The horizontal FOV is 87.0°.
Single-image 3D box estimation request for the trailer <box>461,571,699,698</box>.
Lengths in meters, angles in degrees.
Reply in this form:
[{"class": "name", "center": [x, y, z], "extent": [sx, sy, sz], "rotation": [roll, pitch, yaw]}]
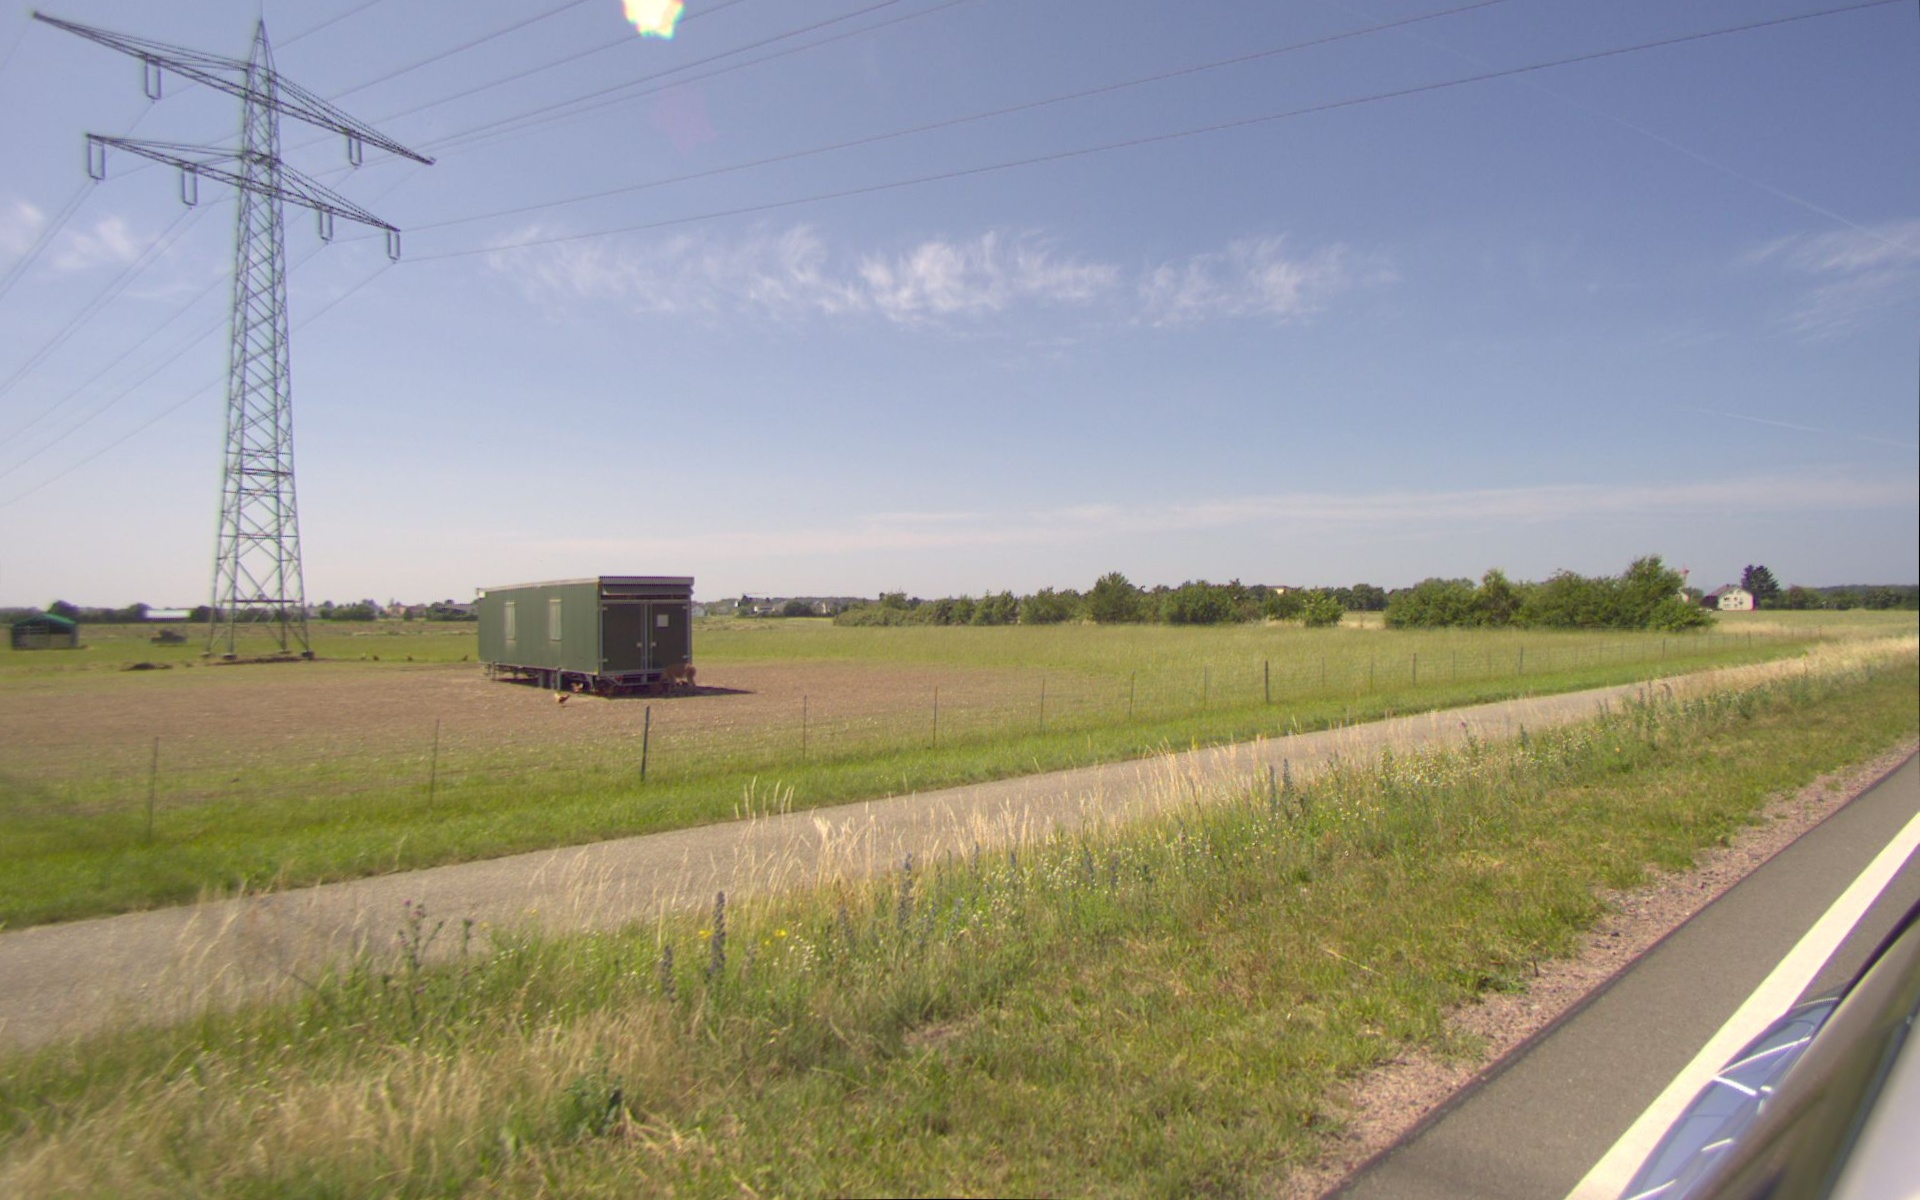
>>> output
[{"class": "trailer", "center": [-13.390, 1.047, 34.387], "extent": [3.219, 3.519, 13.532], "rotation": [0, -1, -40]}]
